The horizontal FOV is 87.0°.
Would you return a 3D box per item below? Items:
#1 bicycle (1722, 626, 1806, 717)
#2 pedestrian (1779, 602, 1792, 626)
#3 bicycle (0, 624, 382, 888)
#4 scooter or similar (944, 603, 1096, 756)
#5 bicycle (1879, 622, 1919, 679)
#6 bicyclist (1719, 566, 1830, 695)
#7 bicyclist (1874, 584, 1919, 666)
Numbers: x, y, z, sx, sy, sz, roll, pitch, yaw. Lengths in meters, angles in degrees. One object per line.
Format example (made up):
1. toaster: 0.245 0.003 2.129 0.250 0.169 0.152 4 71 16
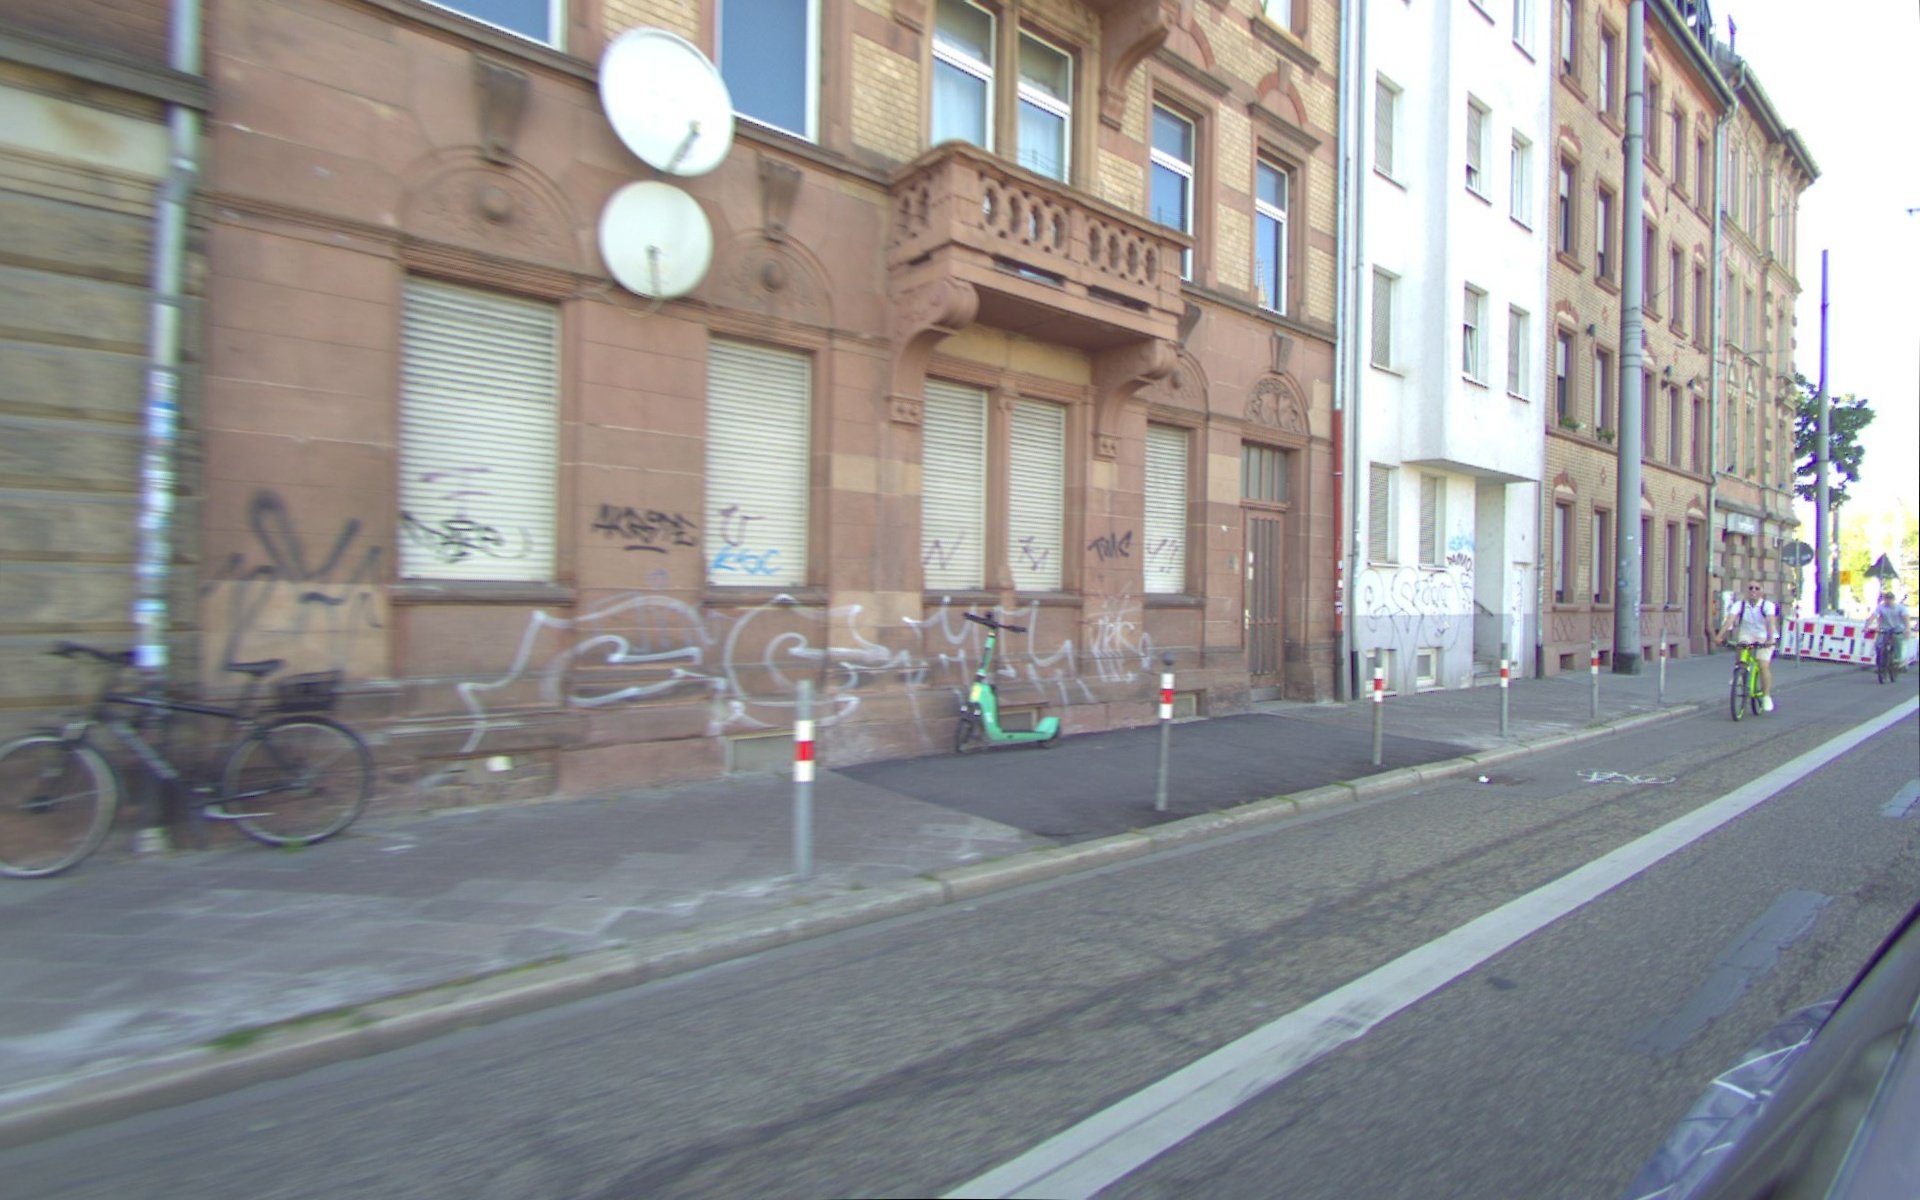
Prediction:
1. bicycle: 11.079 0.943 13.920 1.900 1.132 0.532 0 -1 -41
2. pedestrian: 61.152 1.052 74.954 0.810 1.779 0.659 0 -1 -44
3. bicycle: -4.007 0.725 5.102 1.862 1.135 0.411 -1 2 -37
4. scooter or similar: 0.556 0.661 8.996 1.454 1.226 0.407 -1 2 -40
5. bicycle: 19.048 1.000 20.473 1.899 1.082 0.387 0 0 -39
6. bicyclist: 11.185 0.405 13.909 1.096 1.705 0.684 -1 -1 -20
7. bicyclist: 19.072 0.499 20.432 0.870 1.613 0.784 1 0 -39
